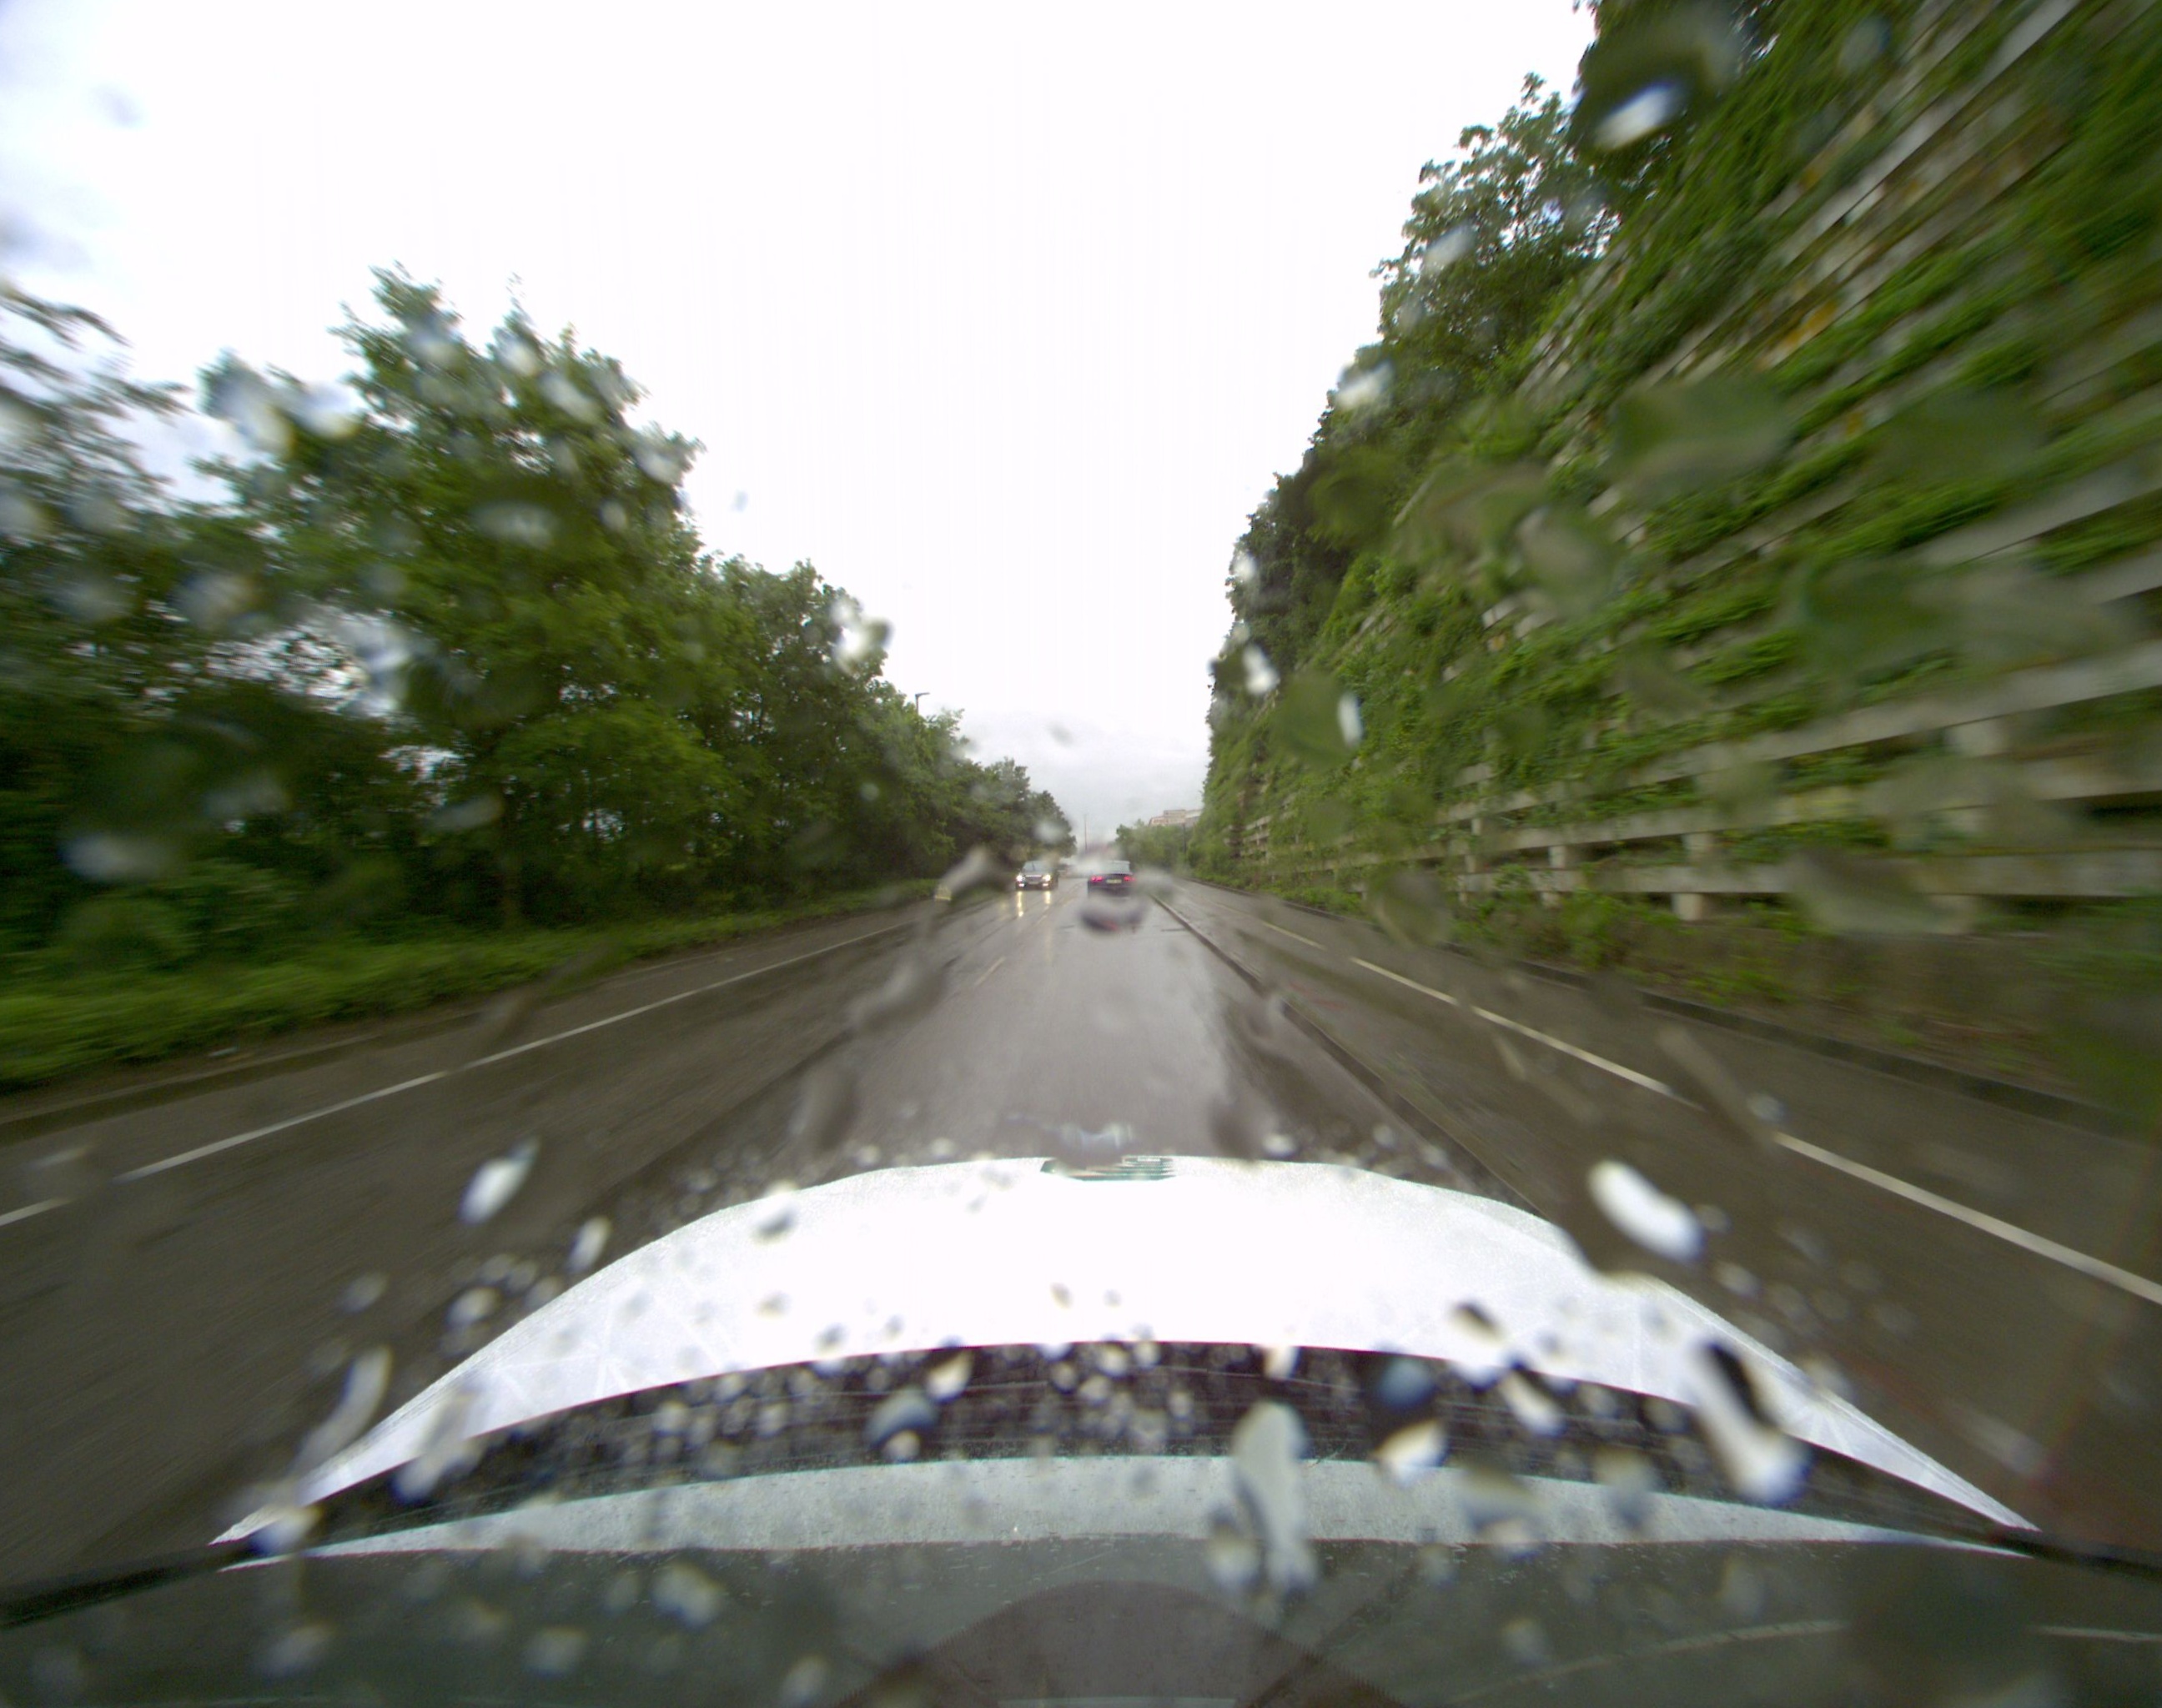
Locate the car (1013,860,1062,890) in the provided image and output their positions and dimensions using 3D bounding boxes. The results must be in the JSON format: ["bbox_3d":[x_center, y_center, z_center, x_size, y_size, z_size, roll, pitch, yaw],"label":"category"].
[{"bbox_3d":[-2.093,0.984,40.317,1.986,1.364,4.254,-1,0,2],"label":"car"}]

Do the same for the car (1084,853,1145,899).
[{"bbox_3d":[1.245,0.712,28.793,1.883,1.492,4.214,-1,0,5],"label":"car"}]
